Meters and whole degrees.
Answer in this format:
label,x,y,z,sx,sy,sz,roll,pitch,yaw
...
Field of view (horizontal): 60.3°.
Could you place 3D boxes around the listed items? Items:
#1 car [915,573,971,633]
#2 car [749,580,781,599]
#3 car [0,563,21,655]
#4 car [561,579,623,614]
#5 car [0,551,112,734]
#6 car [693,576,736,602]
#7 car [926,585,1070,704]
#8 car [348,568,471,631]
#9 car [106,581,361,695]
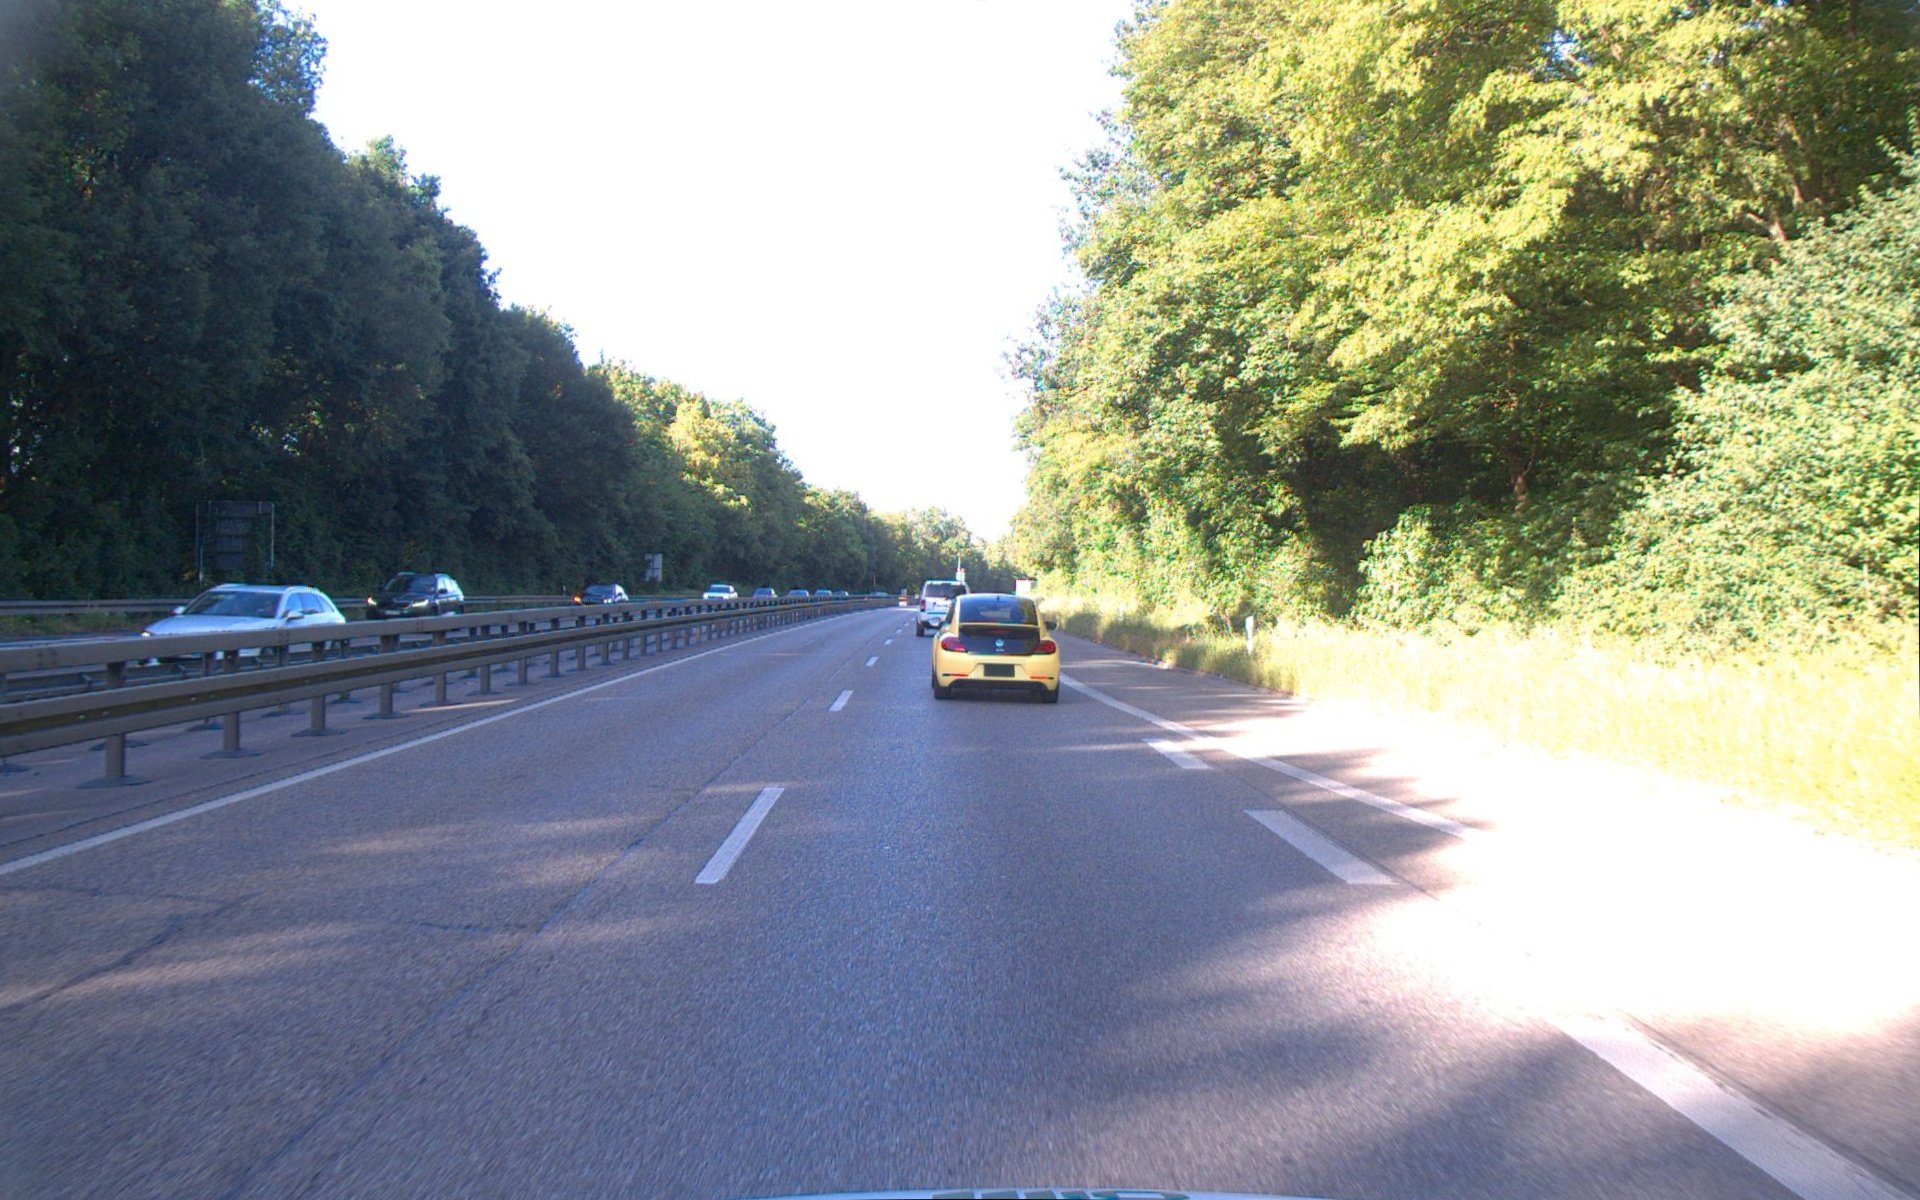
label,x,y,z,sx,sy,sz,roll,pitch,yaw
car,-0.571,0.092,53.455,1.706,1.862,3.421,1,0,-2
car,-15.237,-0.805,129.418,1.952,1.489,4.000,-1,0,1
car,-17.823,0.179,27.359,1.953,1.628,4.706,-1,0,-1
car,-16.597,-0.160,74.844,1.953,1.512,3.999,-1,0,-1
car,-10.783,0.450,17.340,1.752,1.892,3.999,-1,0,-1
car,-16.014,-0.723,108.202,1.952,1.651,4.791,-1,0,2
car,0.592,0.598,24.123,1.899,1.534,3.423,2,0,3
car,-15.884,-0.023,47.995,1.953,1.728,4.907,-1,0,-1
car,-11.161,0.530,25.823,1.953,1.587,4.706,-1,0,-1
